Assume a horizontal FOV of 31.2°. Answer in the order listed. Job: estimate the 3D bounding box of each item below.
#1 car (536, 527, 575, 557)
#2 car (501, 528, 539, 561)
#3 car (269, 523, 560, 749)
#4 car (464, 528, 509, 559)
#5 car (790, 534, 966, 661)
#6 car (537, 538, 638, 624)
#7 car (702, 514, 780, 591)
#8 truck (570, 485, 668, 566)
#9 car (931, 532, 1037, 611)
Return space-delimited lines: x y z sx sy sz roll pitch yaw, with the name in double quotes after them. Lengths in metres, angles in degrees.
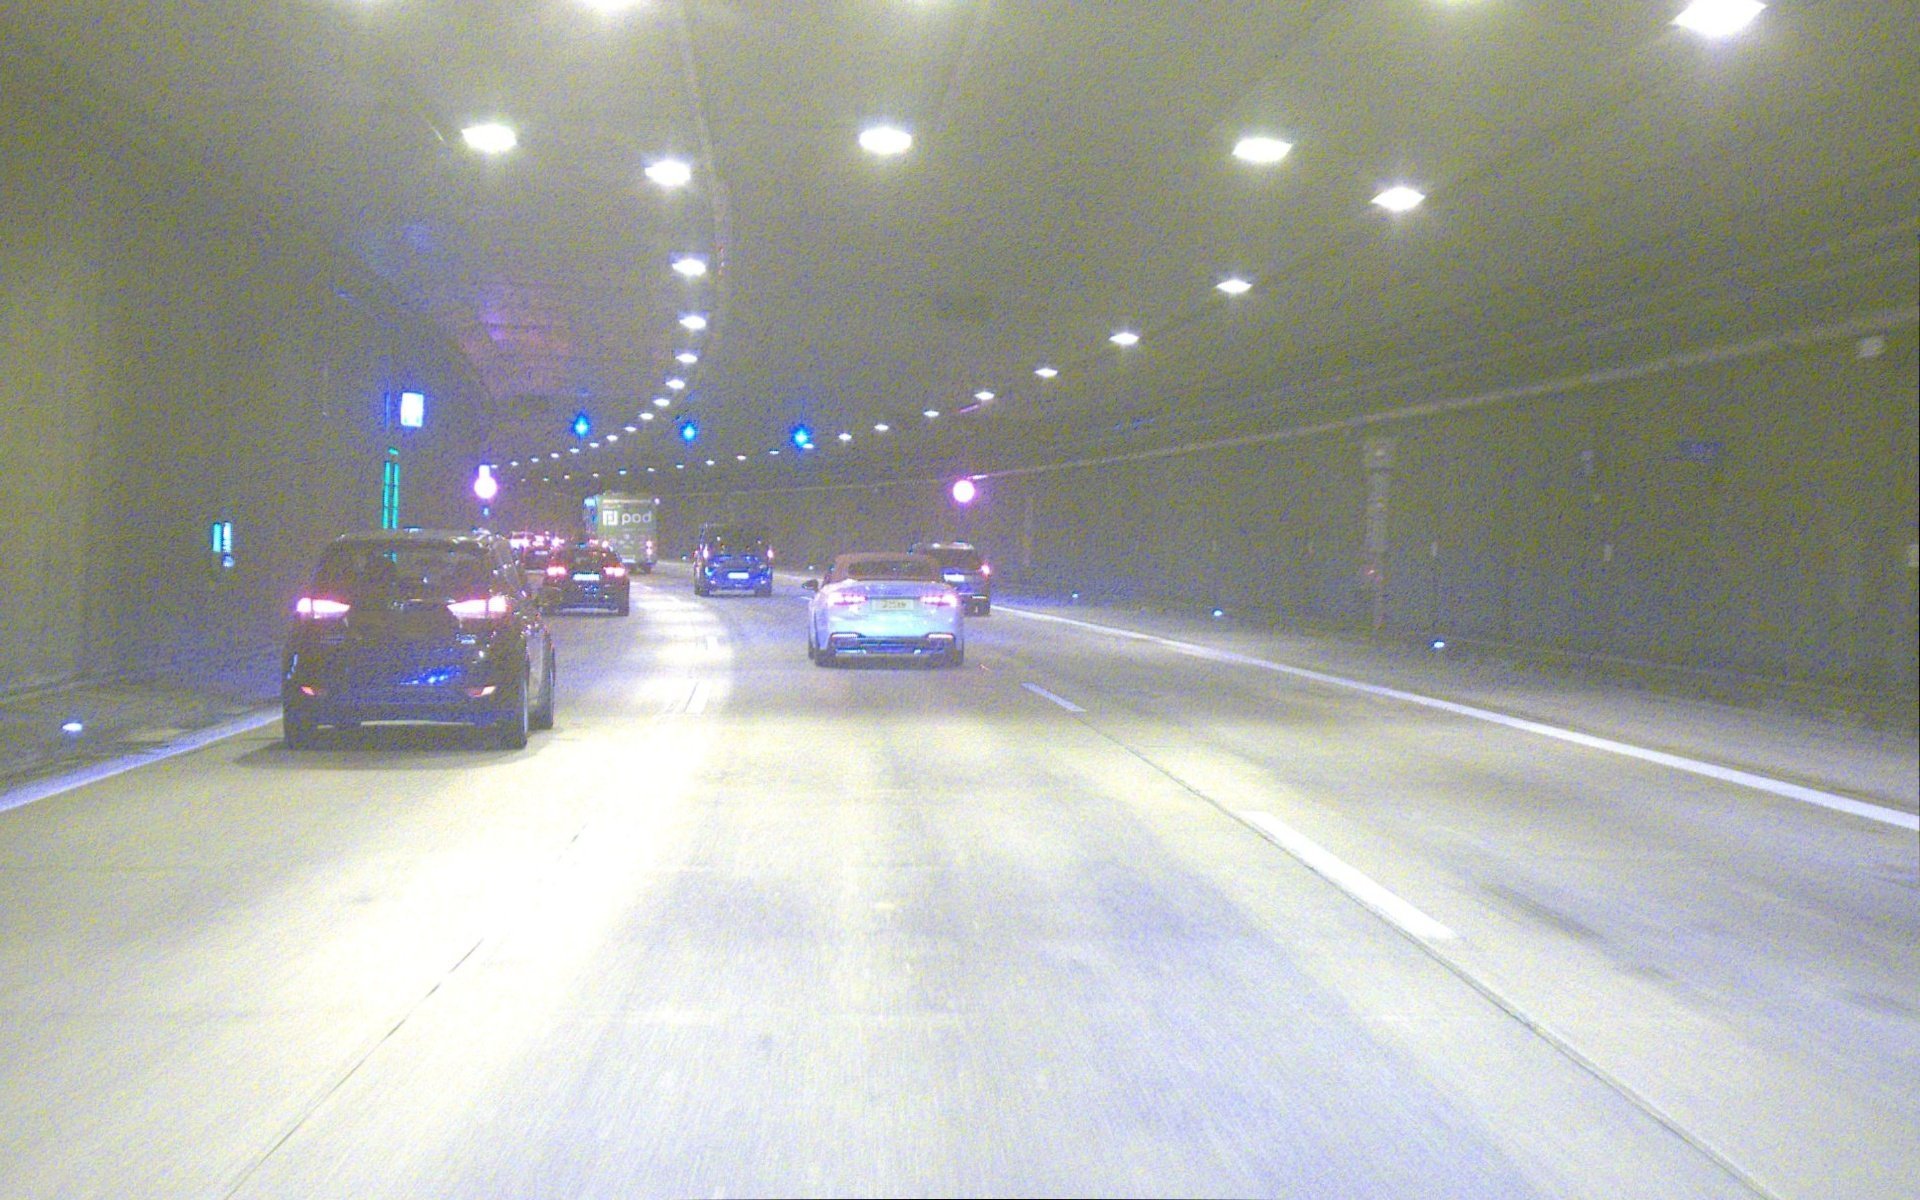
-24.296 -3.470 206.240 1.993 1.748 4.001 1 1 -11 "car"
-24.415 -3.073 190.620 1.993 1.748 4.001 1 1 -8 "car"
-4.079 0.222 26.231 1.785 1.593 3.802 0 1 -3 "car"
-23.949 -2.841 173.669 1.993 1.525 4.001 1 1 -11 "car"
-0.973 -0.065 42.815 1.993 1.478 4.000 1 1 1 "car"
-7.569 -0.409 69.622 1.800 1.678 4.001 1 1 -9 "car"
-5.789 -1.255 90.468 1.993 1.965 4.001 0 1 -5 "car"
-13.919 -3.081 139.714 3.082 3.102 10.032 1 2 -10 "truck"
0.469 -0.614 71.903 1.839 1.597 4.001 1 1 -5 "car"
